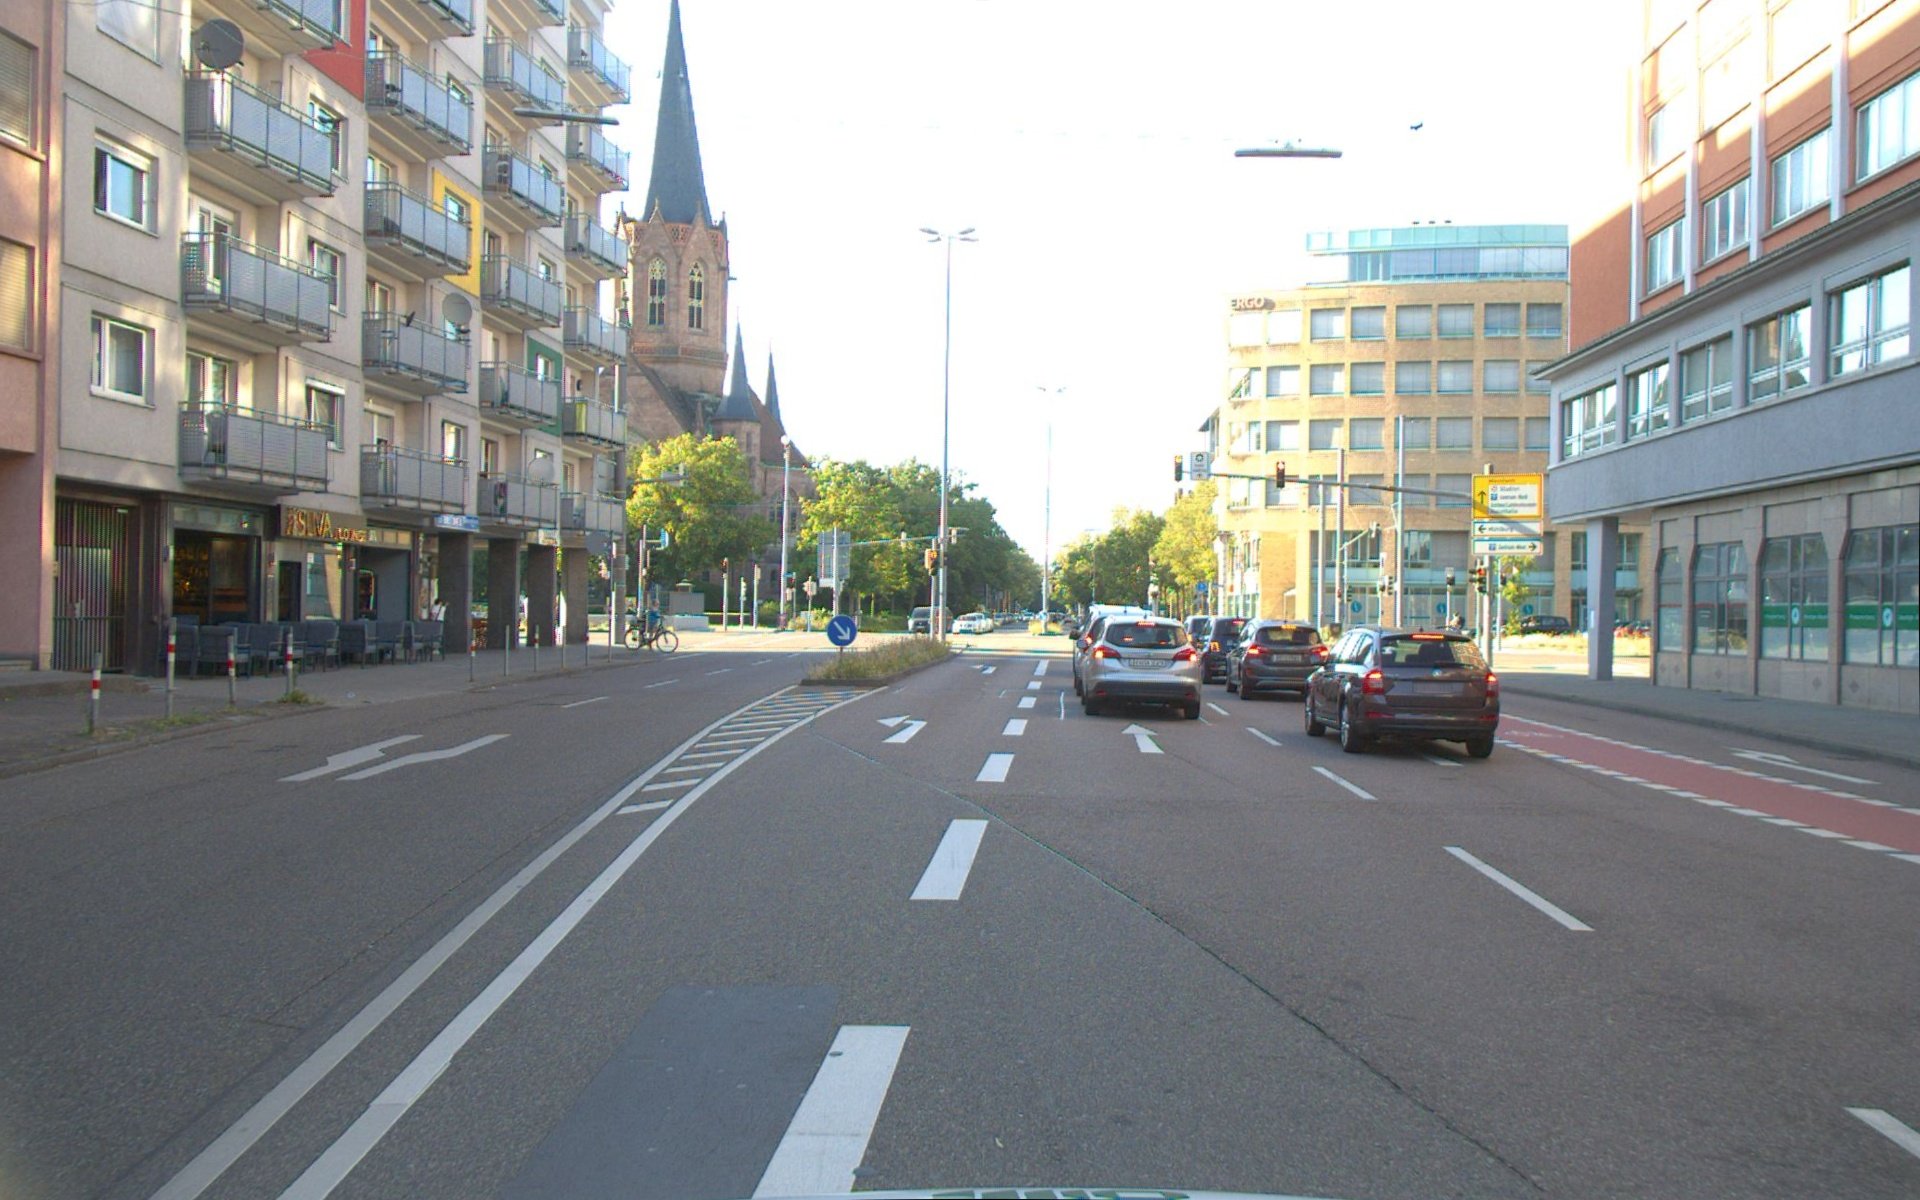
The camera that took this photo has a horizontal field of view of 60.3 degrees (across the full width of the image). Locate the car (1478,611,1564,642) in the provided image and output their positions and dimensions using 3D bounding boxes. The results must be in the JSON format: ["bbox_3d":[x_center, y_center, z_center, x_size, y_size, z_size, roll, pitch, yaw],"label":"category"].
[{"bbox_3d":[31.089,1.468,91.791,4.139,1.643,2.001,1,0,5],"label":"car"}]

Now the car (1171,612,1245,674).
[{"bbox_3d":[6.493,1.101,43.645,1.551,1.472,3.649,2,0,3],"label":"car"}]

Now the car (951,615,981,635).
[{"bbox_3d":[0.403,1.654,110.576,1.742,1.258,4.002,1,0,4],"label":"car"}]

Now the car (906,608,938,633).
[{"bbox_3d":[-2.523,1.362,111.301,1.742,1.676,4.002,1,0,4],"label":"car"}]

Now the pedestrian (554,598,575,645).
[{"bbox_3d":[-14.060,0.758,58.750,0.458,1.670,0.576,0,-1,23],"label":"pedestrian"}]

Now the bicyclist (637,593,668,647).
[{"bbox_3d":[-9.827,0.636,52.867,0.766,1.689,0.901,1,0,2],"label":"bicyclist"}]

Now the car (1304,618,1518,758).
[{"bbox_3d":[5.353,0.980,20.126,1.672,1.483,4.160,1,0,3],"label":"car"}]

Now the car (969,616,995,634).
[{"bbox_3d":[1.669,1.843,124.376,1.742,1.258,4.002,1,0,4],"label":"car"}]

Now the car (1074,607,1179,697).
[{"bbox_3d":[3.124,0.937,31.619,1.766,1.596,3.619,1,0,2],"label":"car"}]

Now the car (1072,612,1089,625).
[{"bbox_3d":[16.103,2.441,220.484,1.952,1.620,4.000,1,0,0],"label":"car"}]

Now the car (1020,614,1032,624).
[{"bbox_3d":[10.309,2.934,258.015,1.742,1.474,4.002,1,0,4],"label":"car"}]

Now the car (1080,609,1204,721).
[{"bbox_3d":[2.764,0.943,25.838,1.672,1.536,4.311,2,0,3],"label":"car"}]

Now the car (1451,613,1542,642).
[{"bbox_3d":[30.795,1.573,95.003,4.551,1.626,2.000,1,0,1],"label":"car"}]

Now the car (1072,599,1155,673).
[{"bbox_3d":[3.625,0.818,39.627,1.747,1.661,4.480,1,0,3],"label":"car"}]

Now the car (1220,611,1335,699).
[{"bbox_3d":[6.084,1.012,32.113,1.616,1.510,4.241,2,0,3],"label":"car"}]

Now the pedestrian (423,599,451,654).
[{"bbox_3d":[-13.480,0.675,42.644,0.474,1.408,0.481,1,-1,23],"label":"pedestrian"}]

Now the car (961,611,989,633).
[{"bbox_3d":[1.069,1.572,117.126,1.742,1.490,4.002,1,0,4],"label":"car"}]

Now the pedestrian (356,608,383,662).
[{"bbox_3d":[-13.644,0.813,38.223,0.515,1.224,0.547,1,0,-28],"label":"pedestrian"}]

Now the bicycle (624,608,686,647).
[{"bbox_3d":[-9.666,0.856,52.474,1.789,1.209,0.734,1,0,2],"label":"bicycle"}]

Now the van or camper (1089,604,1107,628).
[{"bbox_3d":[15.810,1.844,189.598,1.951,2.687,5.353,1,0,5],"label":"van or camper"}]

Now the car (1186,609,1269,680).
[{"bbox_3d":[6.117,0.990,38.119,1.458,1.532,3.480,1,0,2],"label":"car"}]

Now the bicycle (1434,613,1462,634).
[{"bbox_3d":[28.596,1.379,96.928,1.487,1.193,0.475,1,0,10],"label":"bicycle"}]
